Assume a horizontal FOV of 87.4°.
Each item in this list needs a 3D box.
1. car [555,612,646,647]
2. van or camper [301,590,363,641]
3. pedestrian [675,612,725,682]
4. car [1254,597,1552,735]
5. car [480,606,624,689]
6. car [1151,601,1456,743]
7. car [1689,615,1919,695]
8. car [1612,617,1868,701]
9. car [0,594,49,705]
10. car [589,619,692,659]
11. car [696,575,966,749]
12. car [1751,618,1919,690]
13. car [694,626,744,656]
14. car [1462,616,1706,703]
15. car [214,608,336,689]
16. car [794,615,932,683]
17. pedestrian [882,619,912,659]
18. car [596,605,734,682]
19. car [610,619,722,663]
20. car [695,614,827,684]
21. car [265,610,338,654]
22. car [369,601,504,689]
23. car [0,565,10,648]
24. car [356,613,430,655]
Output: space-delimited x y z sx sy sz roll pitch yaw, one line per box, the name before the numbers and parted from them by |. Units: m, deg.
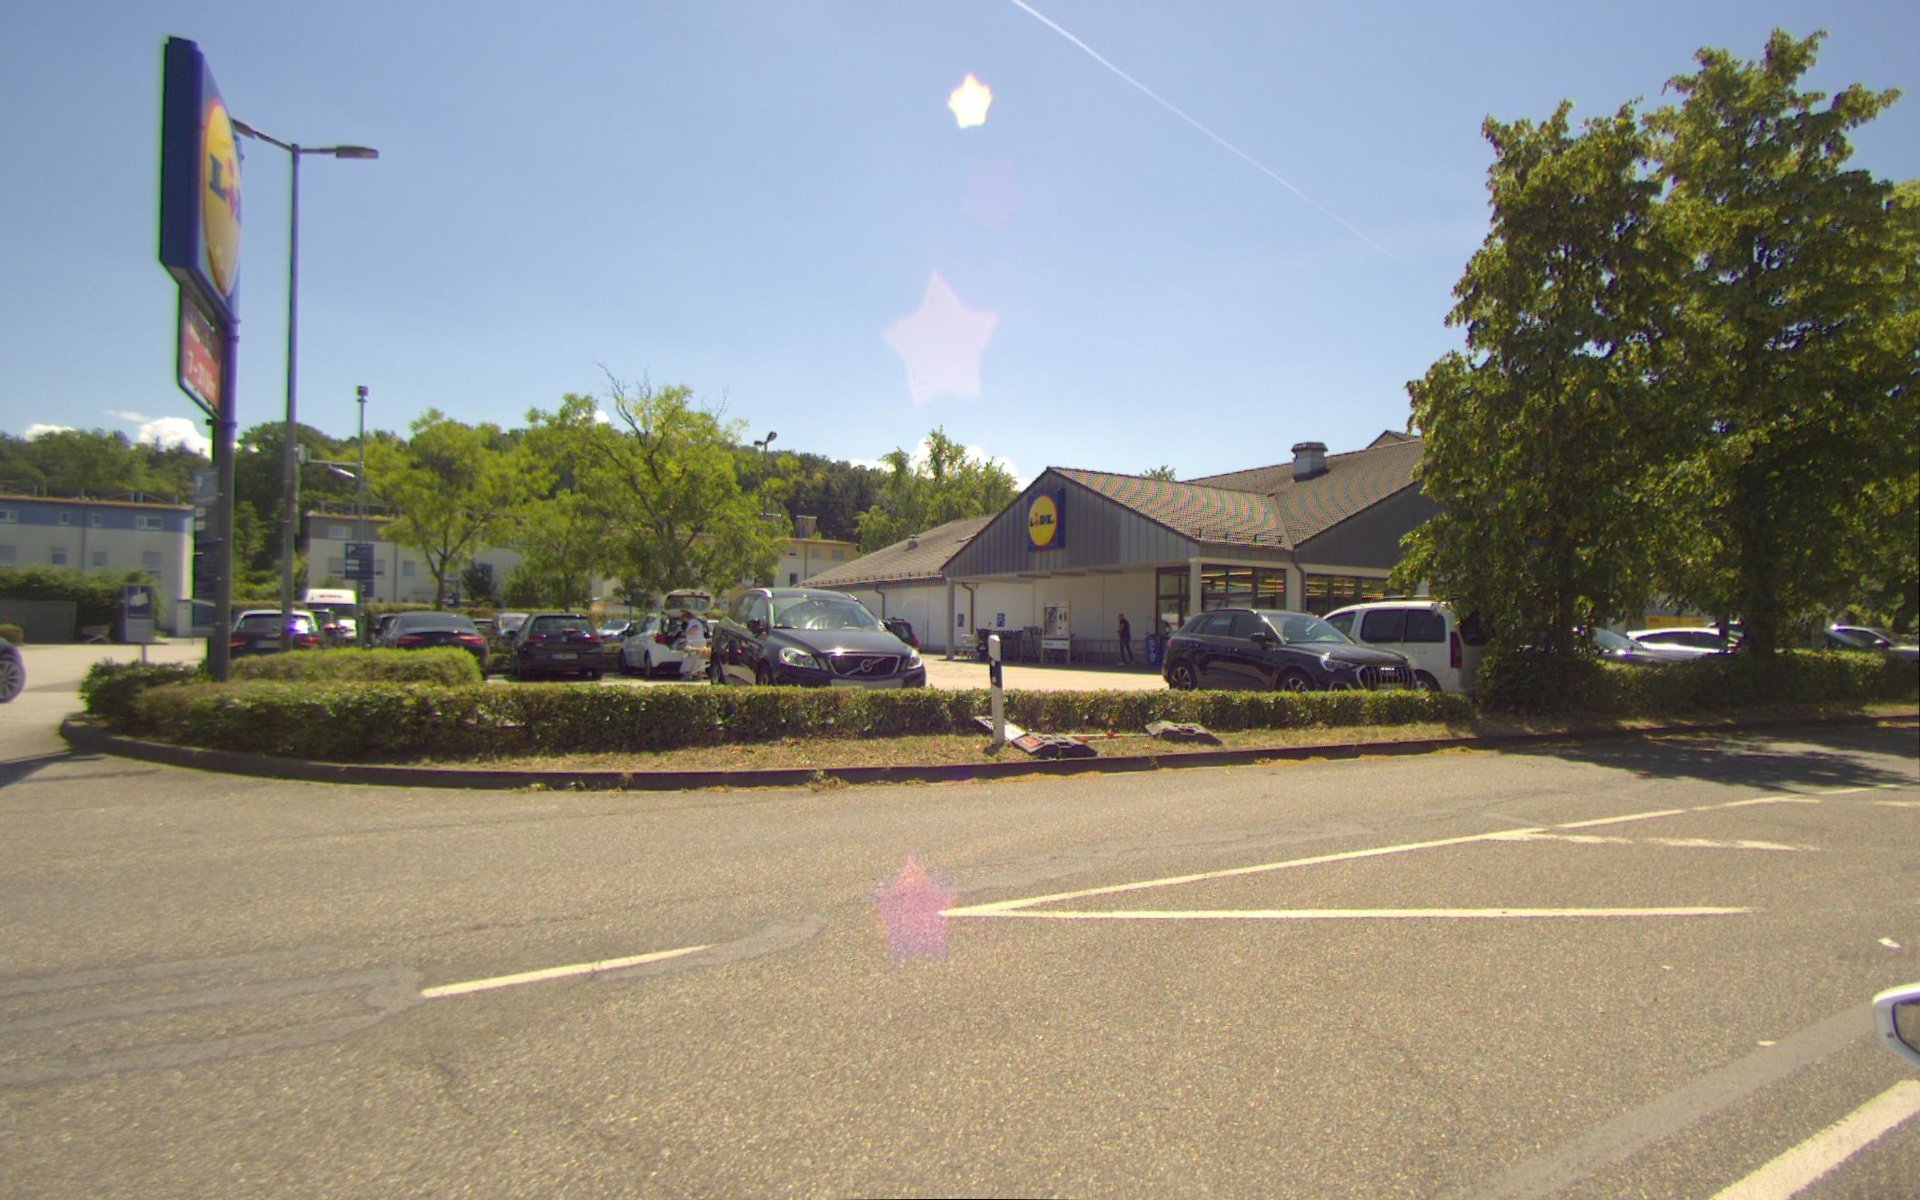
car | -17.783 1.483 49.721 3.955 1.623 1.784 2 0 -31
van or camper | -25.942 0.603 41.585 1.987 1.962 4.340 2 -1 -30
pedestrian | -5.831 1.039 22.543 0.873 1.503 0.808 2 0 -1
car | 7.364 0.998 17.129 1.884 2.006 4.333 2 -1 -32
car | -9.288 1.006 22.680 1.895 1.627 4.279 2 -1 -38
car | 5.113 0.982 15.658 2.074 1.869 4.374 2 -1 -24
car | 22.178 1.365 26.449 2.049 1.800 4.378 2 0 -31
car | 18.213 1.312 23.694 1.873 1.642 4.378 2 0 -31
car | -12.819 0.607 11.479 1.910 1.419 4.667 2 -1 -20
car | -13.923 1.696 43.843 3.954 1.623 1.784 2 -1 -31
car | -1.877 0.666 12.913 2.070 1.785 4.693 2 -1 -25
car | 25.480 1.482 28.439 2.049 1.800 4.378 2 0 -31
car | -14.484 2.448 60.211 1.779 1.623 3.966 2 0 -31
car | 13.247 1.191 21.554 1.912 1.545 4.008 2 0 -31
car | -13.741 0.901 20.047 1.754 1.387 4.203 2 -1 -38
car | -2.646 1.237 26.381 1.808 1.550 4.286 2 -1 -33
pedestrian | -2.456 1.503 39.066 0.787 1.534 0.795 1 -1 42
car | -7.355 1.020 24.777 2.092 1.677 4.286 2 -1 -33
car | -11.739 1.640 40.126 3.954 1.623 1.784 2 -1 -31
car | -5.177 1.197 25.691 1.808 1.550 4.286 2 -1 -33
car | -22.795 1.074 34.704 1.754 1.387 4.203 2 -1 -38
car | -10.932 0.869 20.838 1.754 1.610 4.203 2 -1 -38
car | -33.222 0.135 30.557 5.834 2.662 2.269 2 0 -32
car | -20.610 1.208 36.448 1.754 1.387 4.203 2 -1 -38
